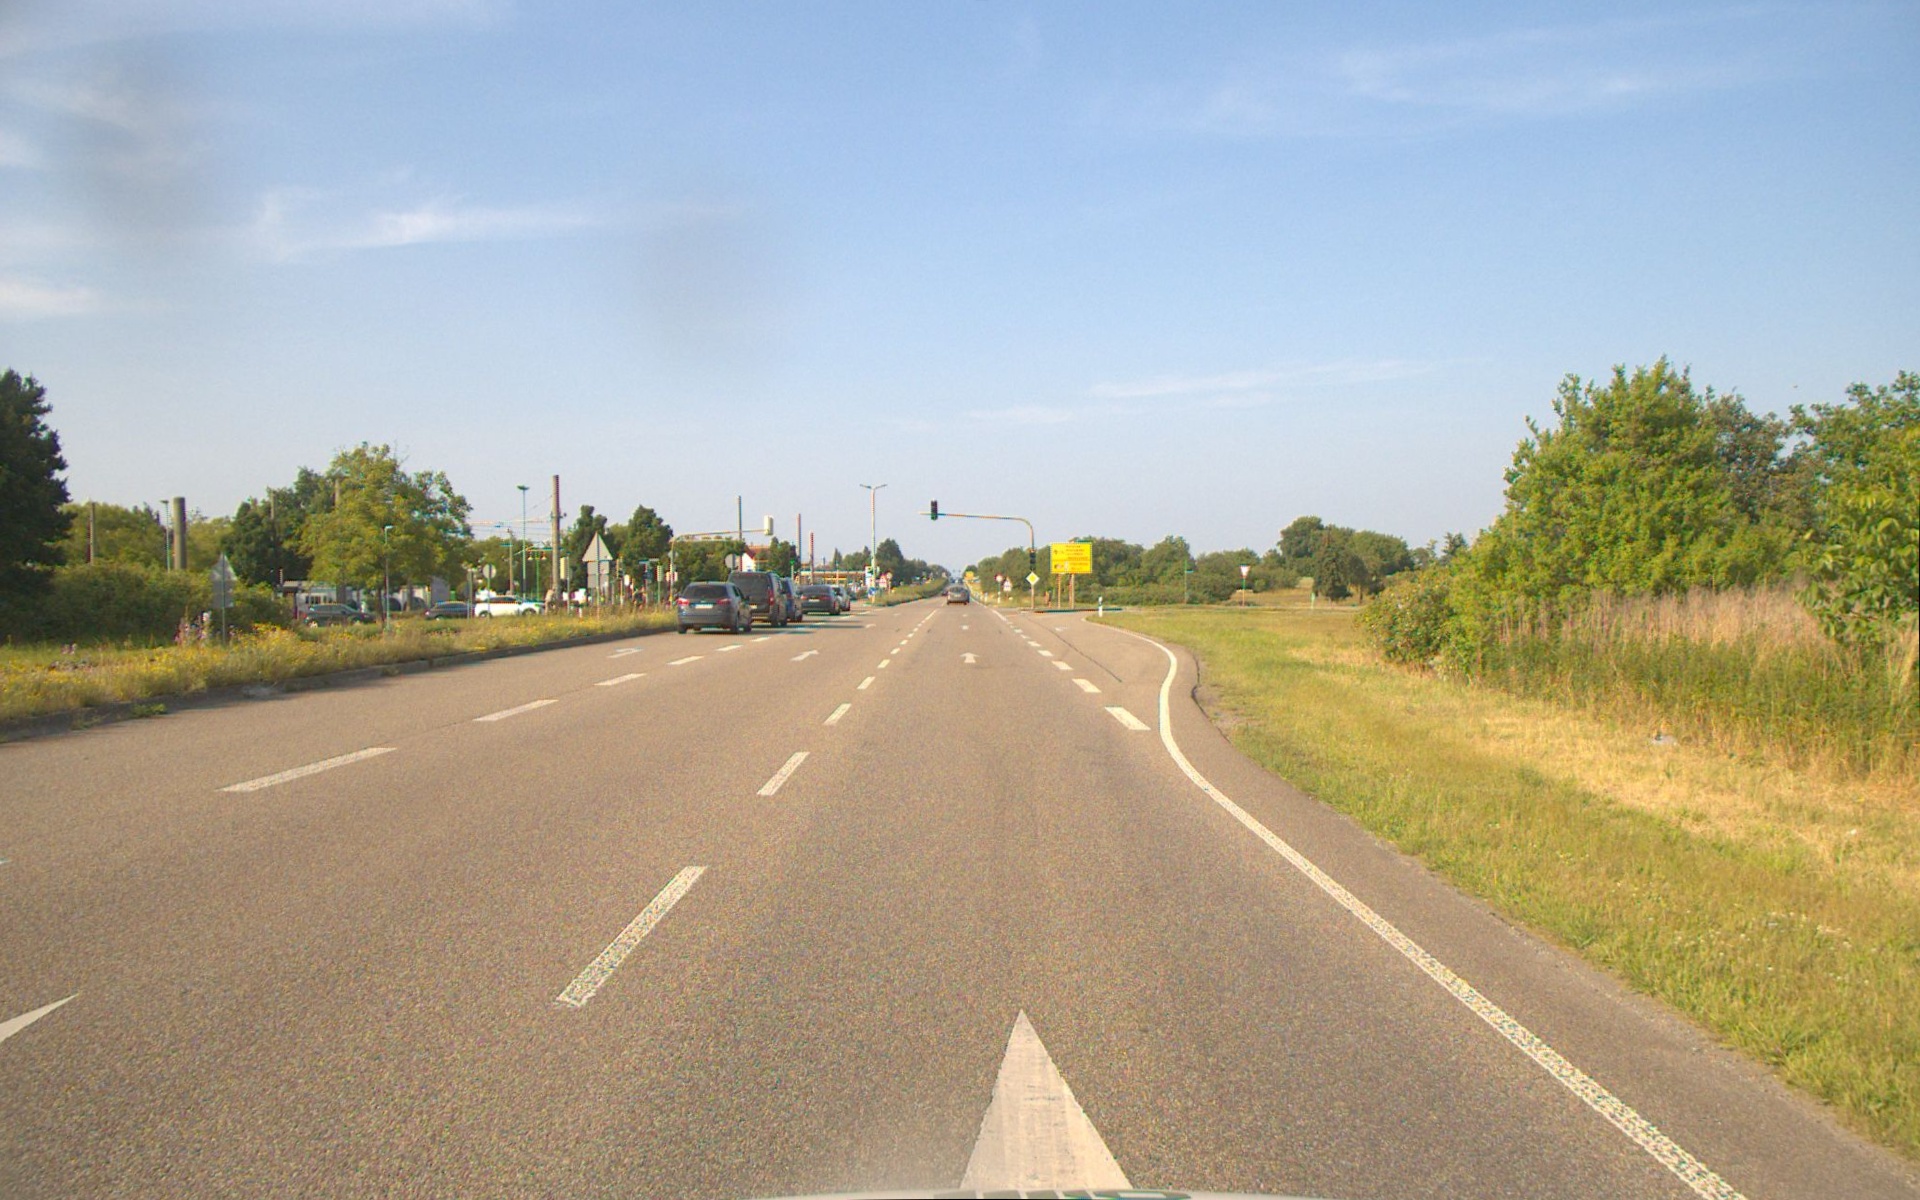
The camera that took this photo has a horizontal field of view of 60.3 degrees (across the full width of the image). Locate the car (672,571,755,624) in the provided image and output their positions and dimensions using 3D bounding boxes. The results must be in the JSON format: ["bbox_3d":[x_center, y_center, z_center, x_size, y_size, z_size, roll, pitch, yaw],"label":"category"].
[{"bbox_3d":[-7.180,-0.094,48.534,1.696,1.481,4.520,0,1,1],"label":"car"}]

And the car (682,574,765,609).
[{"bbox_3d":[-14.437,-0.511,101.101,4.722,2.049,2.000,0,-2,0],"label":"car"}]

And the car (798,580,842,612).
[{"bbox_3d":[-6.659,-0.198,79.027,1.733,1.497,4.015,0,1,1],"label":"car"}]

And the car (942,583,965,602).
[{"bbox_3d":[-0.568,-0.689,145.406,1.952,1.579,4.000,0,1,0],"label":"car"}]

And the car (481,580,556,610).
[{"bbox_3d":[-26.113,-0.274,97.972,3.905,1.691,1.887,1,-1,0],"label":"car"}]

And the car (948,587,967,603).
[{"bbox_3d":[-0.296,-0.545,173.597,1.952,1.579,4.000,0,1,0],"label":"car"}]

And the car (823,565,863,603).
[{"bbox_3d":[-6.488,-0.904,92.126,1.791,2.049,4.001,0,1,2],"label":"car"}]

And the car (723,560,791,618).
[{"bbox_3d":[-6.787,-0.386,55.635,1.696,1.888,4.520,0,1,1],"label":"car"}]

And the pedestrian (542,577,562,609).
[{"bbox_3d":[-22.805,-0.380,92.364,0.897,1.736,1.066,1,-1,-6],"label":"pedestrian"}]

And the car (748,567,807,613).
[{"bbox_3d":[-7.004,-0.403,63.840,1.733,1.708,4.520,0,1,1],"label":"car"}]
